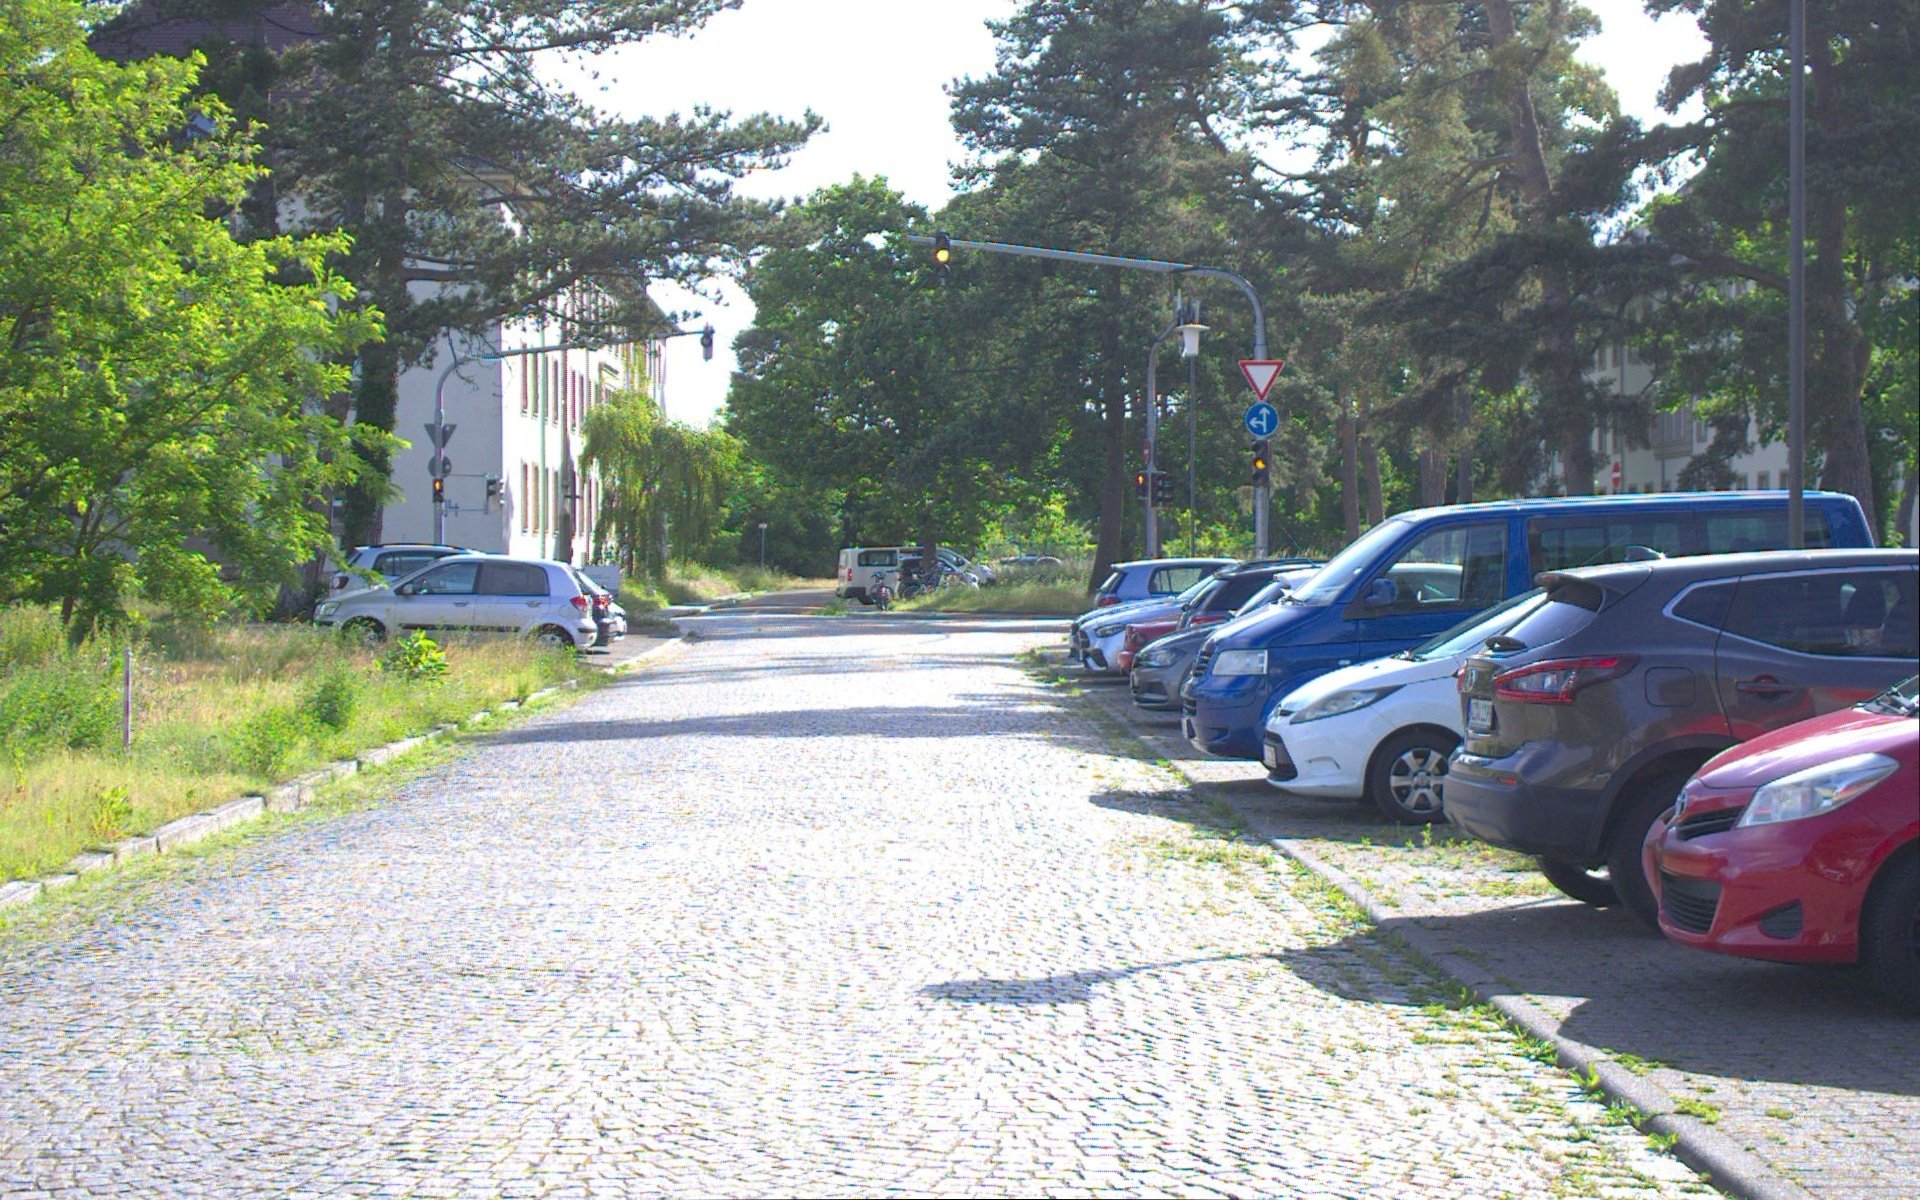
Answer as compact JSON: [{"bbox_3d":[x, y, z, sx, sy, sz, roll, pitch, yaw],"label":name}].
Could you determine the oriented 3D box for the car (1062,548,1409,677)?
[{"bbox_3d":[3.339,0.134,42.111,4.033,1.524,1.646,0,1,-4],"label":"car"}]

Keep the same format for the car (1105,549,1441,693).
[{"bbox_3d":[3.382,0.208,37.571,3.477,1.524,1.646,0,1,-2],"label":"car"}]

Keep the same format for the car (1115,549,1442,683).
[{"bbox_3d":[3.671,0.168,40.036,3.602,1.524,1.646,0,1,-2],"label":"car"}]

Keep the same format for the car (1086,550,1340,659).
[{"bbox_3d":[3.472,0.046,47.525,3.343,1.477,1.646,0,1,-2],"label":"car"}]

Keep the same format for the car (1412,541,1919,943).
[{"bbox_3d":[4.053,0.554,14.805,3.935,1.616,1.772,0,1,-2],"label":"car"}]

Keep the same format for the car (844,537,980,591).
[{"bbox_3d":[-1.601,-1.207,113.929,4.480,1.722,2.000,1,1,-1],"label":"car"}]

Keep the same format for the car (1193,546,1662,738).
[{"bbox_3d":[3.899,0.330,29.079,3.694,1.461,1.645,-2,1,0],"label":"car"}]

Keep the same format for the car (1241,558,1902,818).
[{"bbox_3d":[3.706,0.508,21.221,3.718,1.483,1.646,-1,1,-3],"label":"car"}]

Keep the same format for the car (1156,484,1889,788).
[{"bbox_3d":[3.815,0.214,23.897,4.676,2.007,2.084,0,1,-4],"label":"car"}]

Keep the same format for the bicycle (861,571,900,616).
[{"bbox_3d":[-2.146,-0.179,92.998,0.804,1.165,2.181,-2,1,-7],"label":"bicycle"}]

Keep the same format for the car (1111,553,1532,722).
[{"bbox_3d":[3.318,0.331,31.960,3.675,1.462,1.646,-1,1,-2],"label":"car"}]

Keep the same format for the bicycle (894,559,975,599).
[{"bbox_3d":[-0.719,-0.598,96.471,2.172,1.096,0.807,0,1,-10],"label":"bicycle"}]

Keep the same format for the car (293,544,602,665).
[{"bbox_3d":[-6.904,0.045,46.622,3.986,1.595,2.000,0,1,-4],"label":"car"}]

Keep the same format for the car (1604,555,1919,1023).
[{"bbox_3d":[4.330,0.606,12.148,3.762,1.525,1.646,0,1,-2],"label":"car"}]

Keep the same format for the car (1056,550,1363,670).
[{"bbox_3d":[3.227,0.112,44.881,3.835,1.524,1.646,0,1,-2],"label":"car"}]

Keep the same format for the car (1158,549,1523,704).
[{"bbox_3d":[3.823,0.253,34.885,3.477,1.524,1.646,0,1,-2],"label":"car"}]

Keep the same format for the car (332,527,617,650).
[{"bbox_3d":[-7.303,-0.185,52.005,3.987,1.596,2.000,3,1,-1],"label":"car"}]

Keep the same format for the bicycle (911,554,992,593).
[{"bbox_3d":[-0.247,-0.764,97.953,2.172,1.096,0.807,0,1,-10],"label":"bicycle"}]
